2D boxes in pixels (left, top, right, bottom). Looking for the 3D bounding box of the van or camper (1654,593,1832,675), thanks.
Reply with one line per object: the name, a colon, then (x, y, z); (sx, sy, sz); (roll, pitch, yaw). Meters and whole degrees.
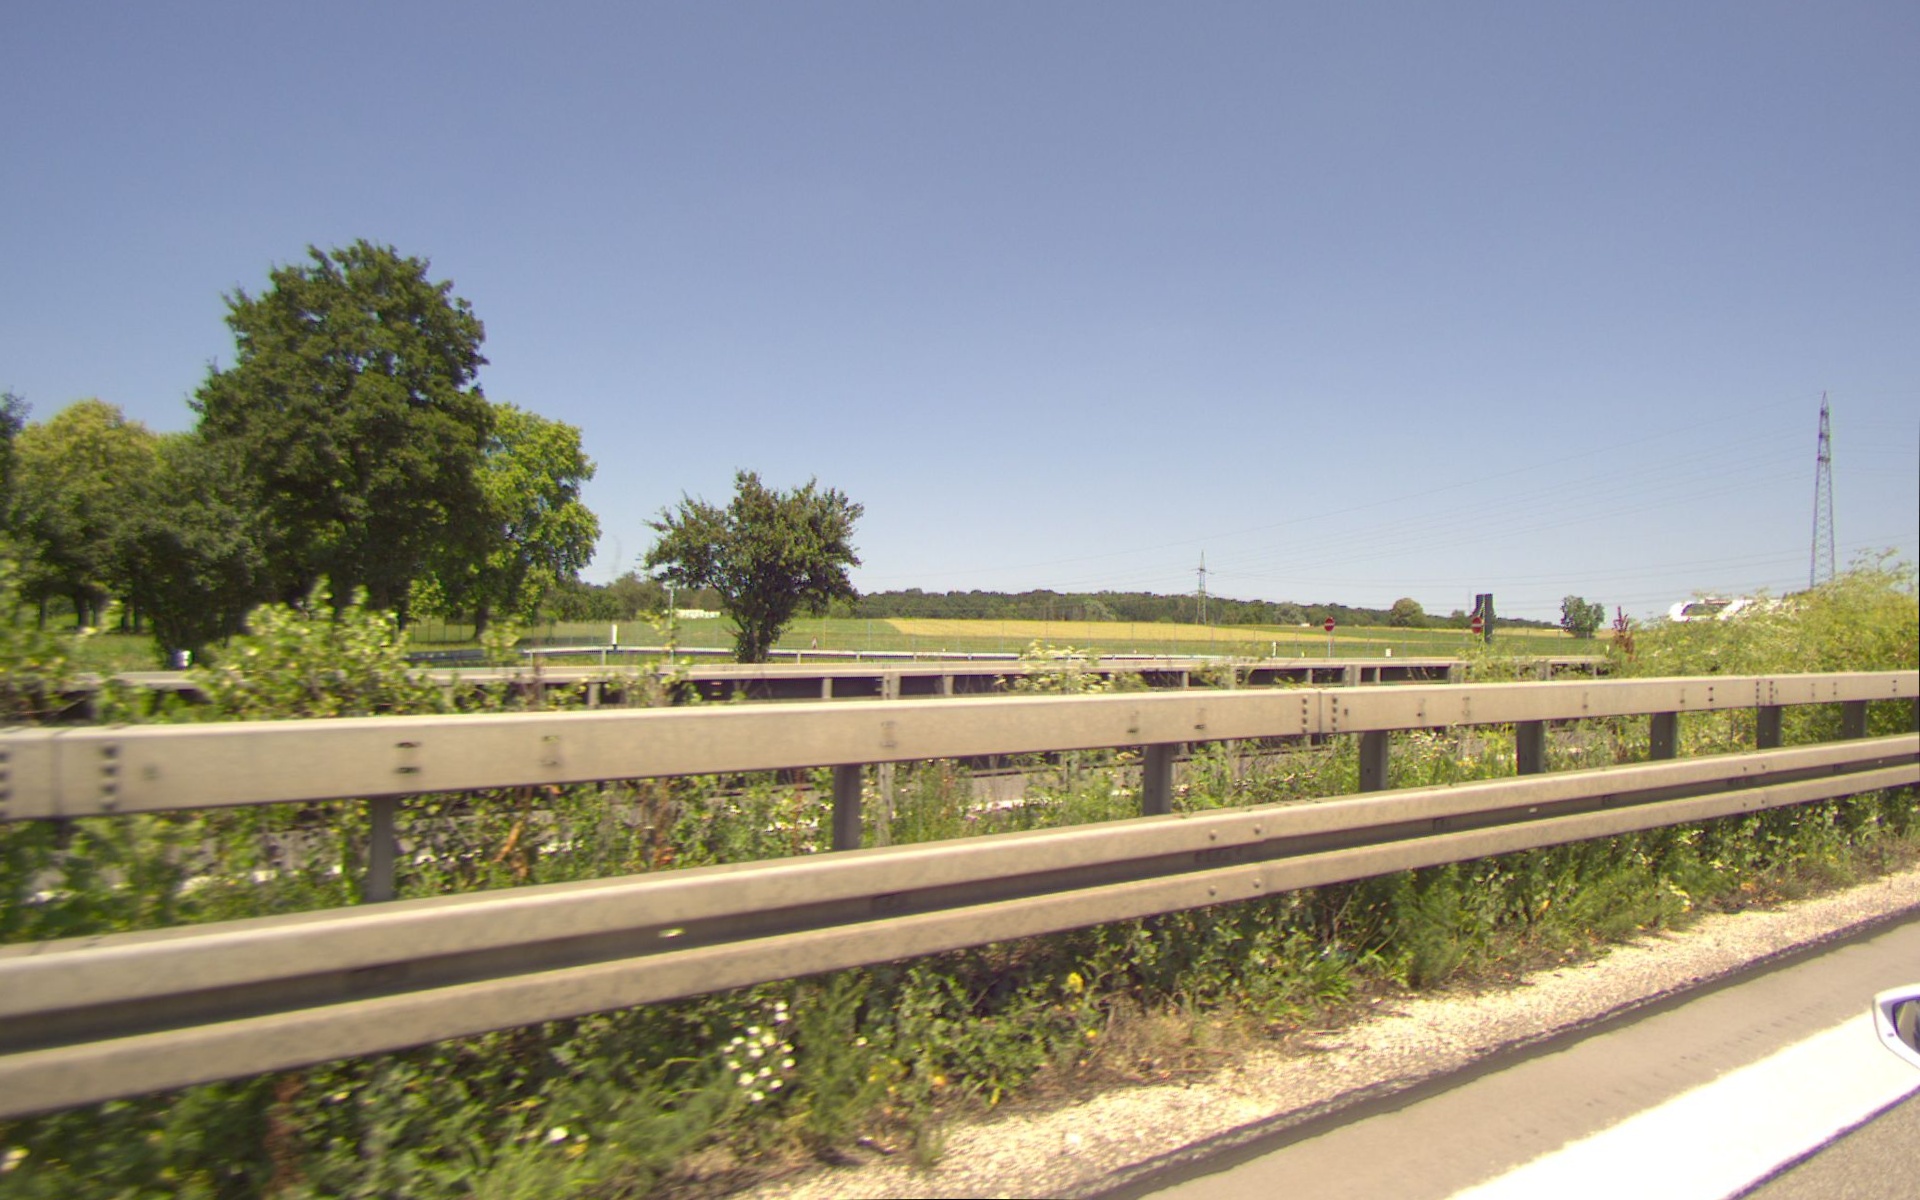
van or camper: (26.668, 1.114, 34.142); (6.631, 2.569, 2.524); (1, -1, -31)
